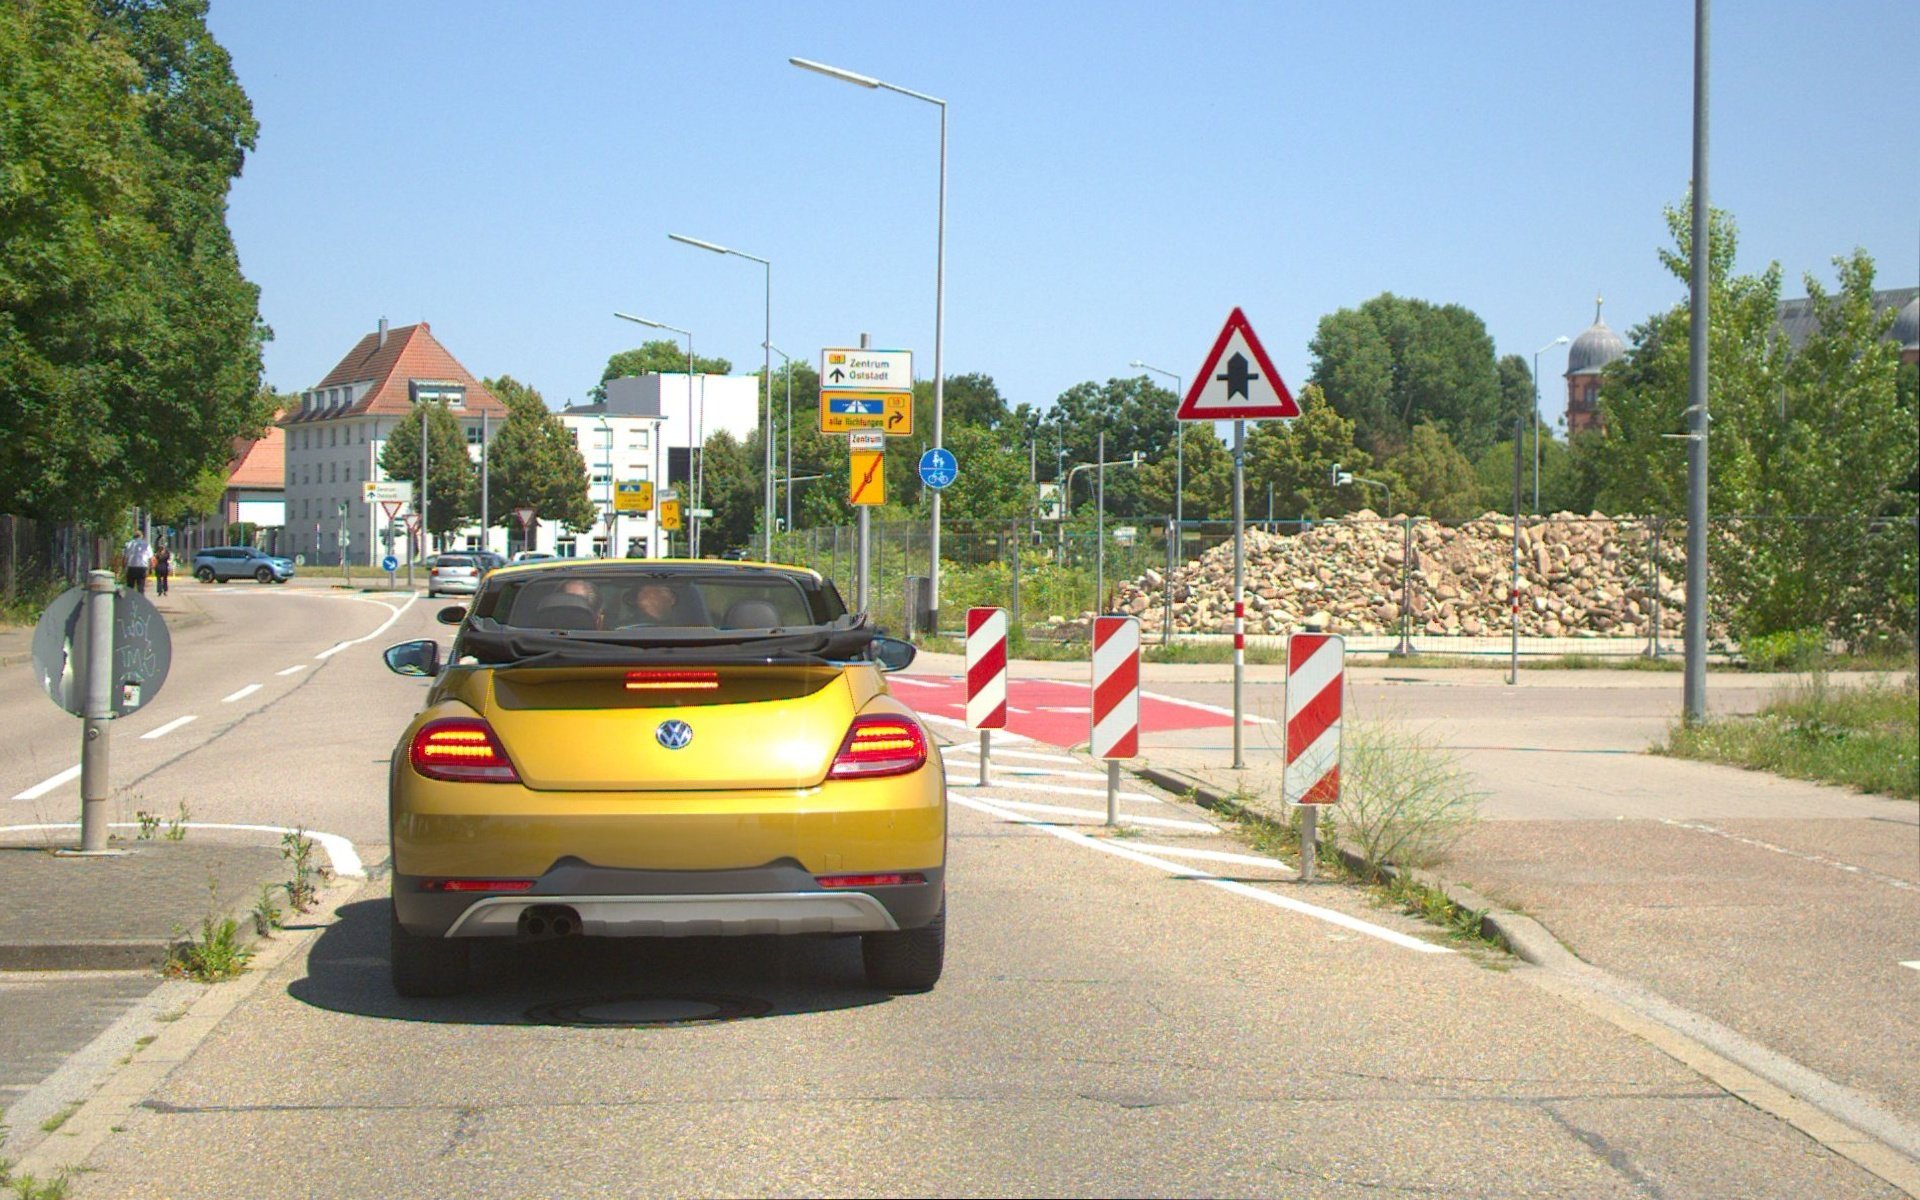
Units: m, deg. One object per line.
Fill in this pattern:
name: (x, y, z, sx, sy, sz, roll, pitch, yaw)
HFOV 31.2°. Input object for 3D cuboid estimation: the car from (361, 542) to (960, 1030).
car: (-1.079, 0.521, 12.221, 1.789, 1.432, 3.814, 0, 1, -6)

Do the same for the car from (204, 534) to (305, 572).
car: (-30.777, -2.063, 150.110, 3.987, 1.548, 1.992, 1, 1, -1)

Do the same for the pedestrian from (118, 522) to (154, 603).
pedestrian: (-17.433, -0.796, 72.747, 0.722, 1.719, 0.818, 0, 1, -12)

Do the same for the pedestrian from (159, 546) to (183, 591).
pedestrian: (-25.495, -1.010, 111.075, 0.722, 1.449, 0.818, 0, 1, -12)

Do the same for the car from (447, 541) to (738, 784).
car: (-2.462, 0.341, 22.494, 1.726, 1.438, 4.001, 0, 1, -8)

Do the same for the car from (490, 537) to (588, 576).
car: (-18.388, -1.902, 150.244, 3.987, 1.673, 2.260, 0, 1, 0)

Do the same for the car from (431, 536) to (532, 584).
car: (-20.242, -1.703, 145.544, 3.987, 2.007, 2.000, 0, 1, 0)
